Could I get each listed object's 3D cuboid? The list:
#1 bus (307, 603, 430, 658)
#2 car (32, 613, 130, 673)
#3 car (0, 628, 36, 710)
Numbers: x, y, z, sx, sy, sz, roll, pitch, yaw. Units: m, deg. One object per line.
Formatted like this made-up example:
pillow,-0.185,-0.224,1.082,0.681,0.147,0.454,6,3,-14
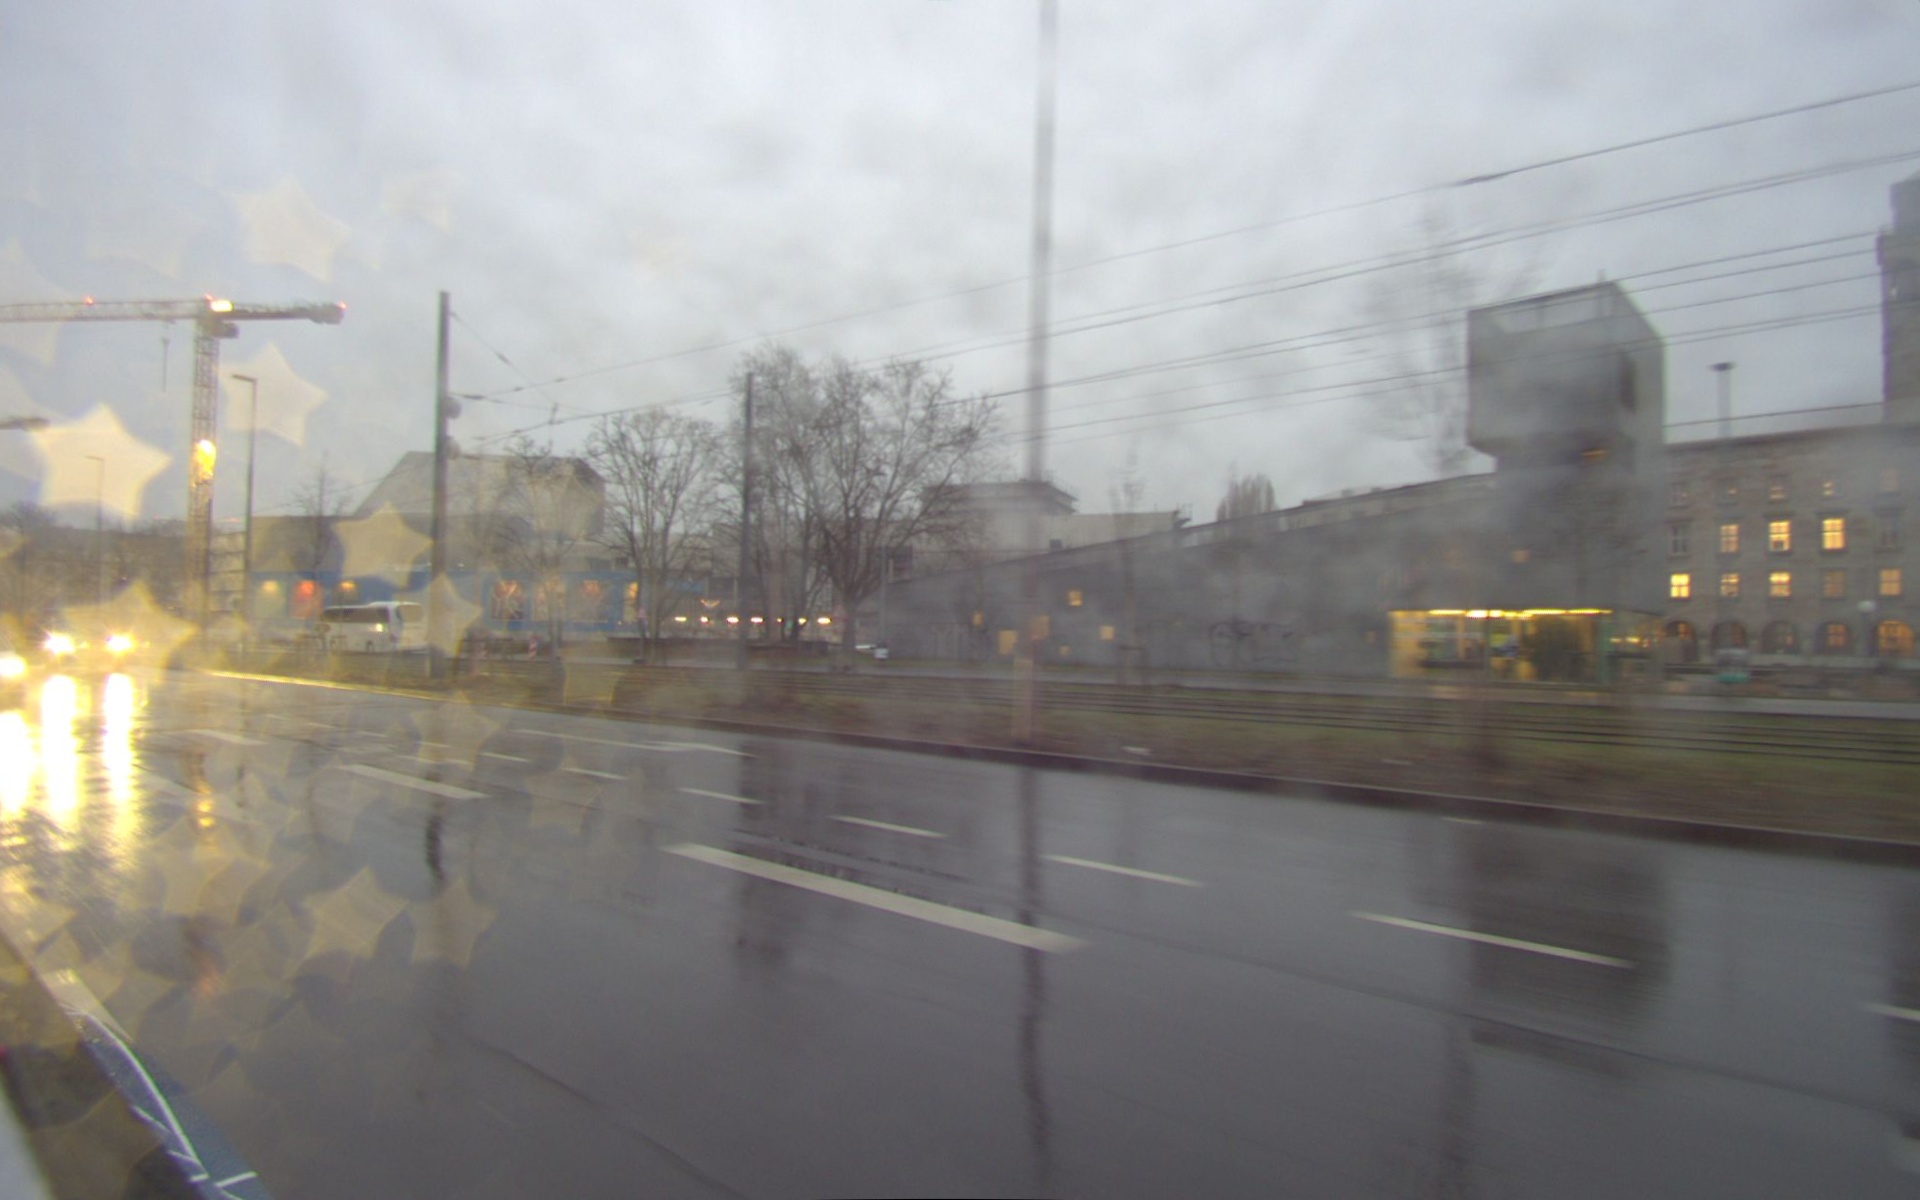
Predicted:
bus,-42.100,2.169,71.778,12.282,3.605,2.781,-1,-3,36
car,-27.506,1.315,31.613,4.610,1.756,1.684,-1,-3,42
car,-19.315,1.288,19.428,4.126,1.486,1.756,-2,-2,40
